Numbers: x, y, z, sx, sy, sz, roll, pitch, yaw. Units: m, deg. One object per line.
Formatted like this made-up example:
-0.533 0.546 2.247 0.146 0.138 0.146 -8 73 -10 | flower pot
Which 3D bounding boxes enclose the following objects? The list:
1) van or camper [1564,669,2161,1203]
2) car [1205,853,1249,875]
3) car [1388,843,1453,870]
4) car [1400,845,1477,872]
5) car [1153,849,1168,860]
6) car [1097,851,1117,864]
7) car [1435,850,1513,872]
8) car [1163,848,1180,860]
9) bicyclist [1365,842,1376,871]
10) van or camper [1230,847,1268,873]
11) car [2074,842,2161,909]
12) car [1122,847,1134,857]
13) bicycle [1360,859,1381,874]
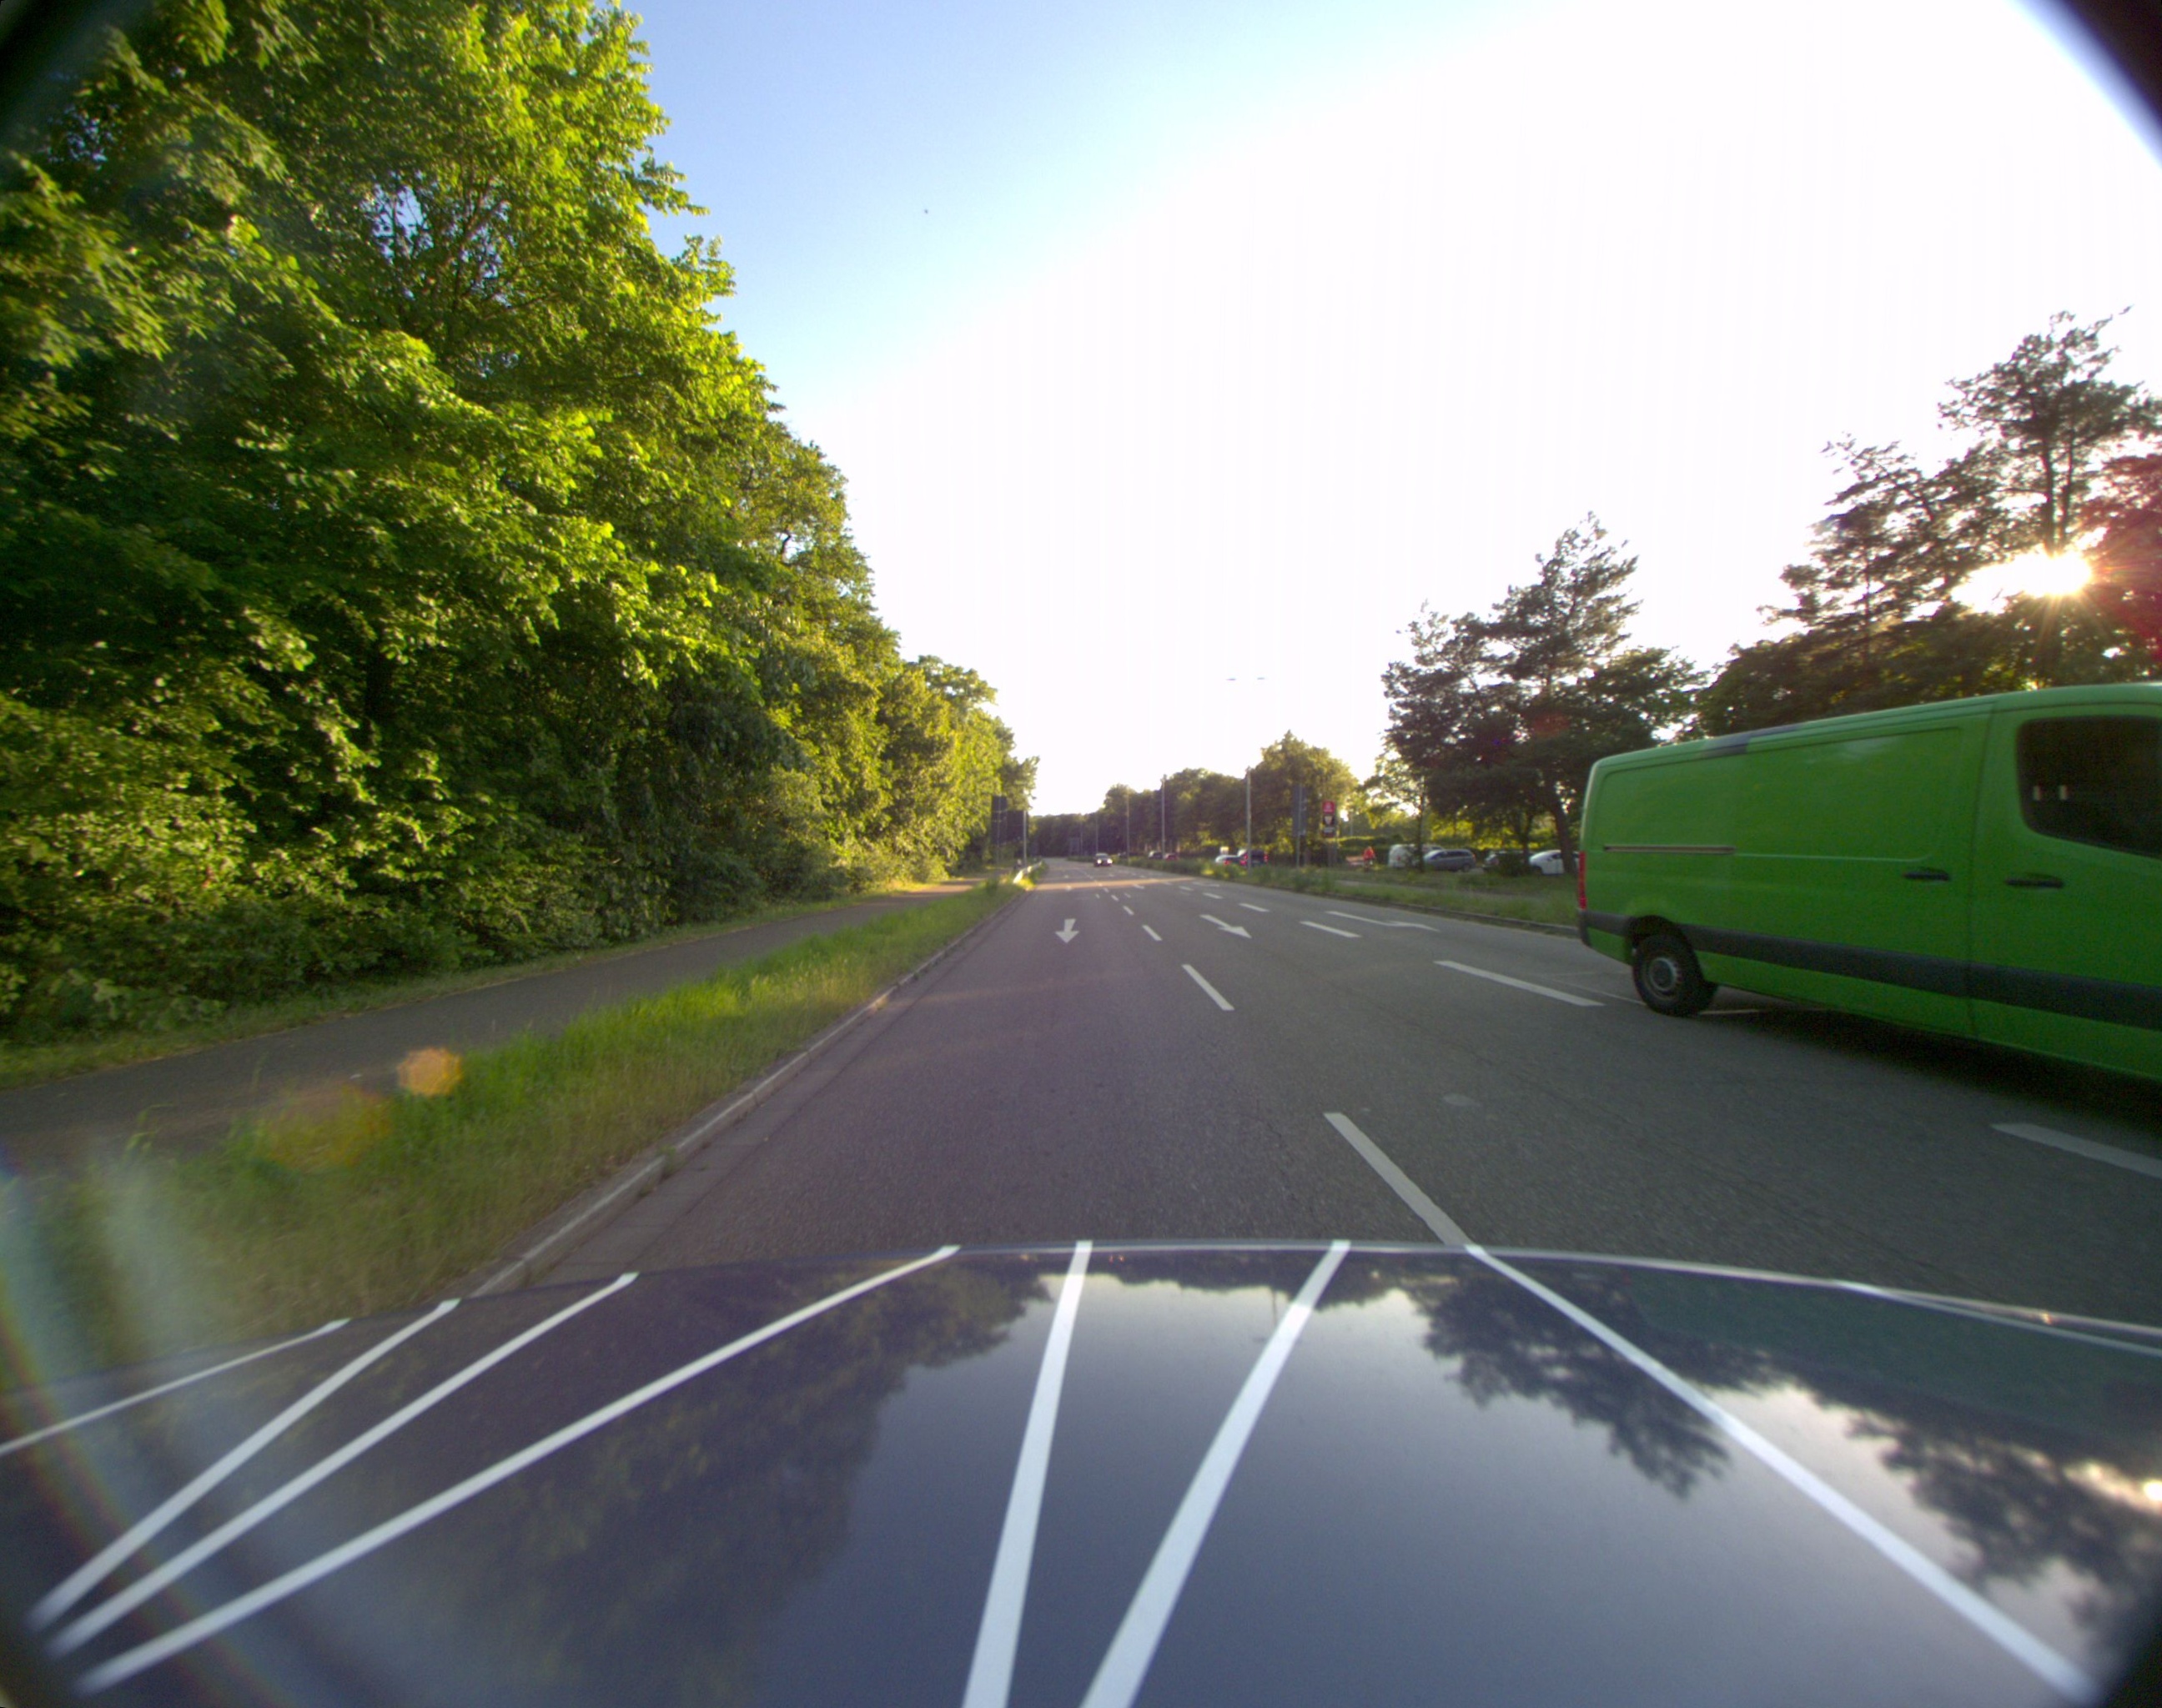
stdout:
5.853 0.361 4.645 1.999 2.407 5.895 0 0 -1 | van or camper
10.641 0.696 55.817 1.999 1.486 4.510 -1 0 -6 | car
24.910 0.155 55.866 3.997 1.932 1.766 0 1 -2 | car
24.798 0.296 52.826 4.498 1.787 1.909 0 0 -2 | car
11.727 0.007 112.617 1.760 1.532 3.999 -2 1 -1 | car
3.052 0.390 89.922 1.999 1.543 3.999 0 0 -2 | car
24.462 0.423 47.379 3.997 1.304 1.733 0 0 0 | car
12.475 0.023 104.455 1.760 1.532 3.999 -2 1 -1 | car
19.158 0.170 50.216 0.459 1.863 0.618 0 1 -3 | bicyclist
13.671 0.447 62.067 1.999 2.002 4.577 0 0 -2 | van or camper
26.990 0.519 17.389 1.999 1.597 4.920 0 0 -3 | car
8.012 -0.364 129.422 1.760 1.532 3.999 -2 1 -1 | car
19.149 0.804 50.274 0.493 0.928 2.044 0 0 -4 | bicycle
